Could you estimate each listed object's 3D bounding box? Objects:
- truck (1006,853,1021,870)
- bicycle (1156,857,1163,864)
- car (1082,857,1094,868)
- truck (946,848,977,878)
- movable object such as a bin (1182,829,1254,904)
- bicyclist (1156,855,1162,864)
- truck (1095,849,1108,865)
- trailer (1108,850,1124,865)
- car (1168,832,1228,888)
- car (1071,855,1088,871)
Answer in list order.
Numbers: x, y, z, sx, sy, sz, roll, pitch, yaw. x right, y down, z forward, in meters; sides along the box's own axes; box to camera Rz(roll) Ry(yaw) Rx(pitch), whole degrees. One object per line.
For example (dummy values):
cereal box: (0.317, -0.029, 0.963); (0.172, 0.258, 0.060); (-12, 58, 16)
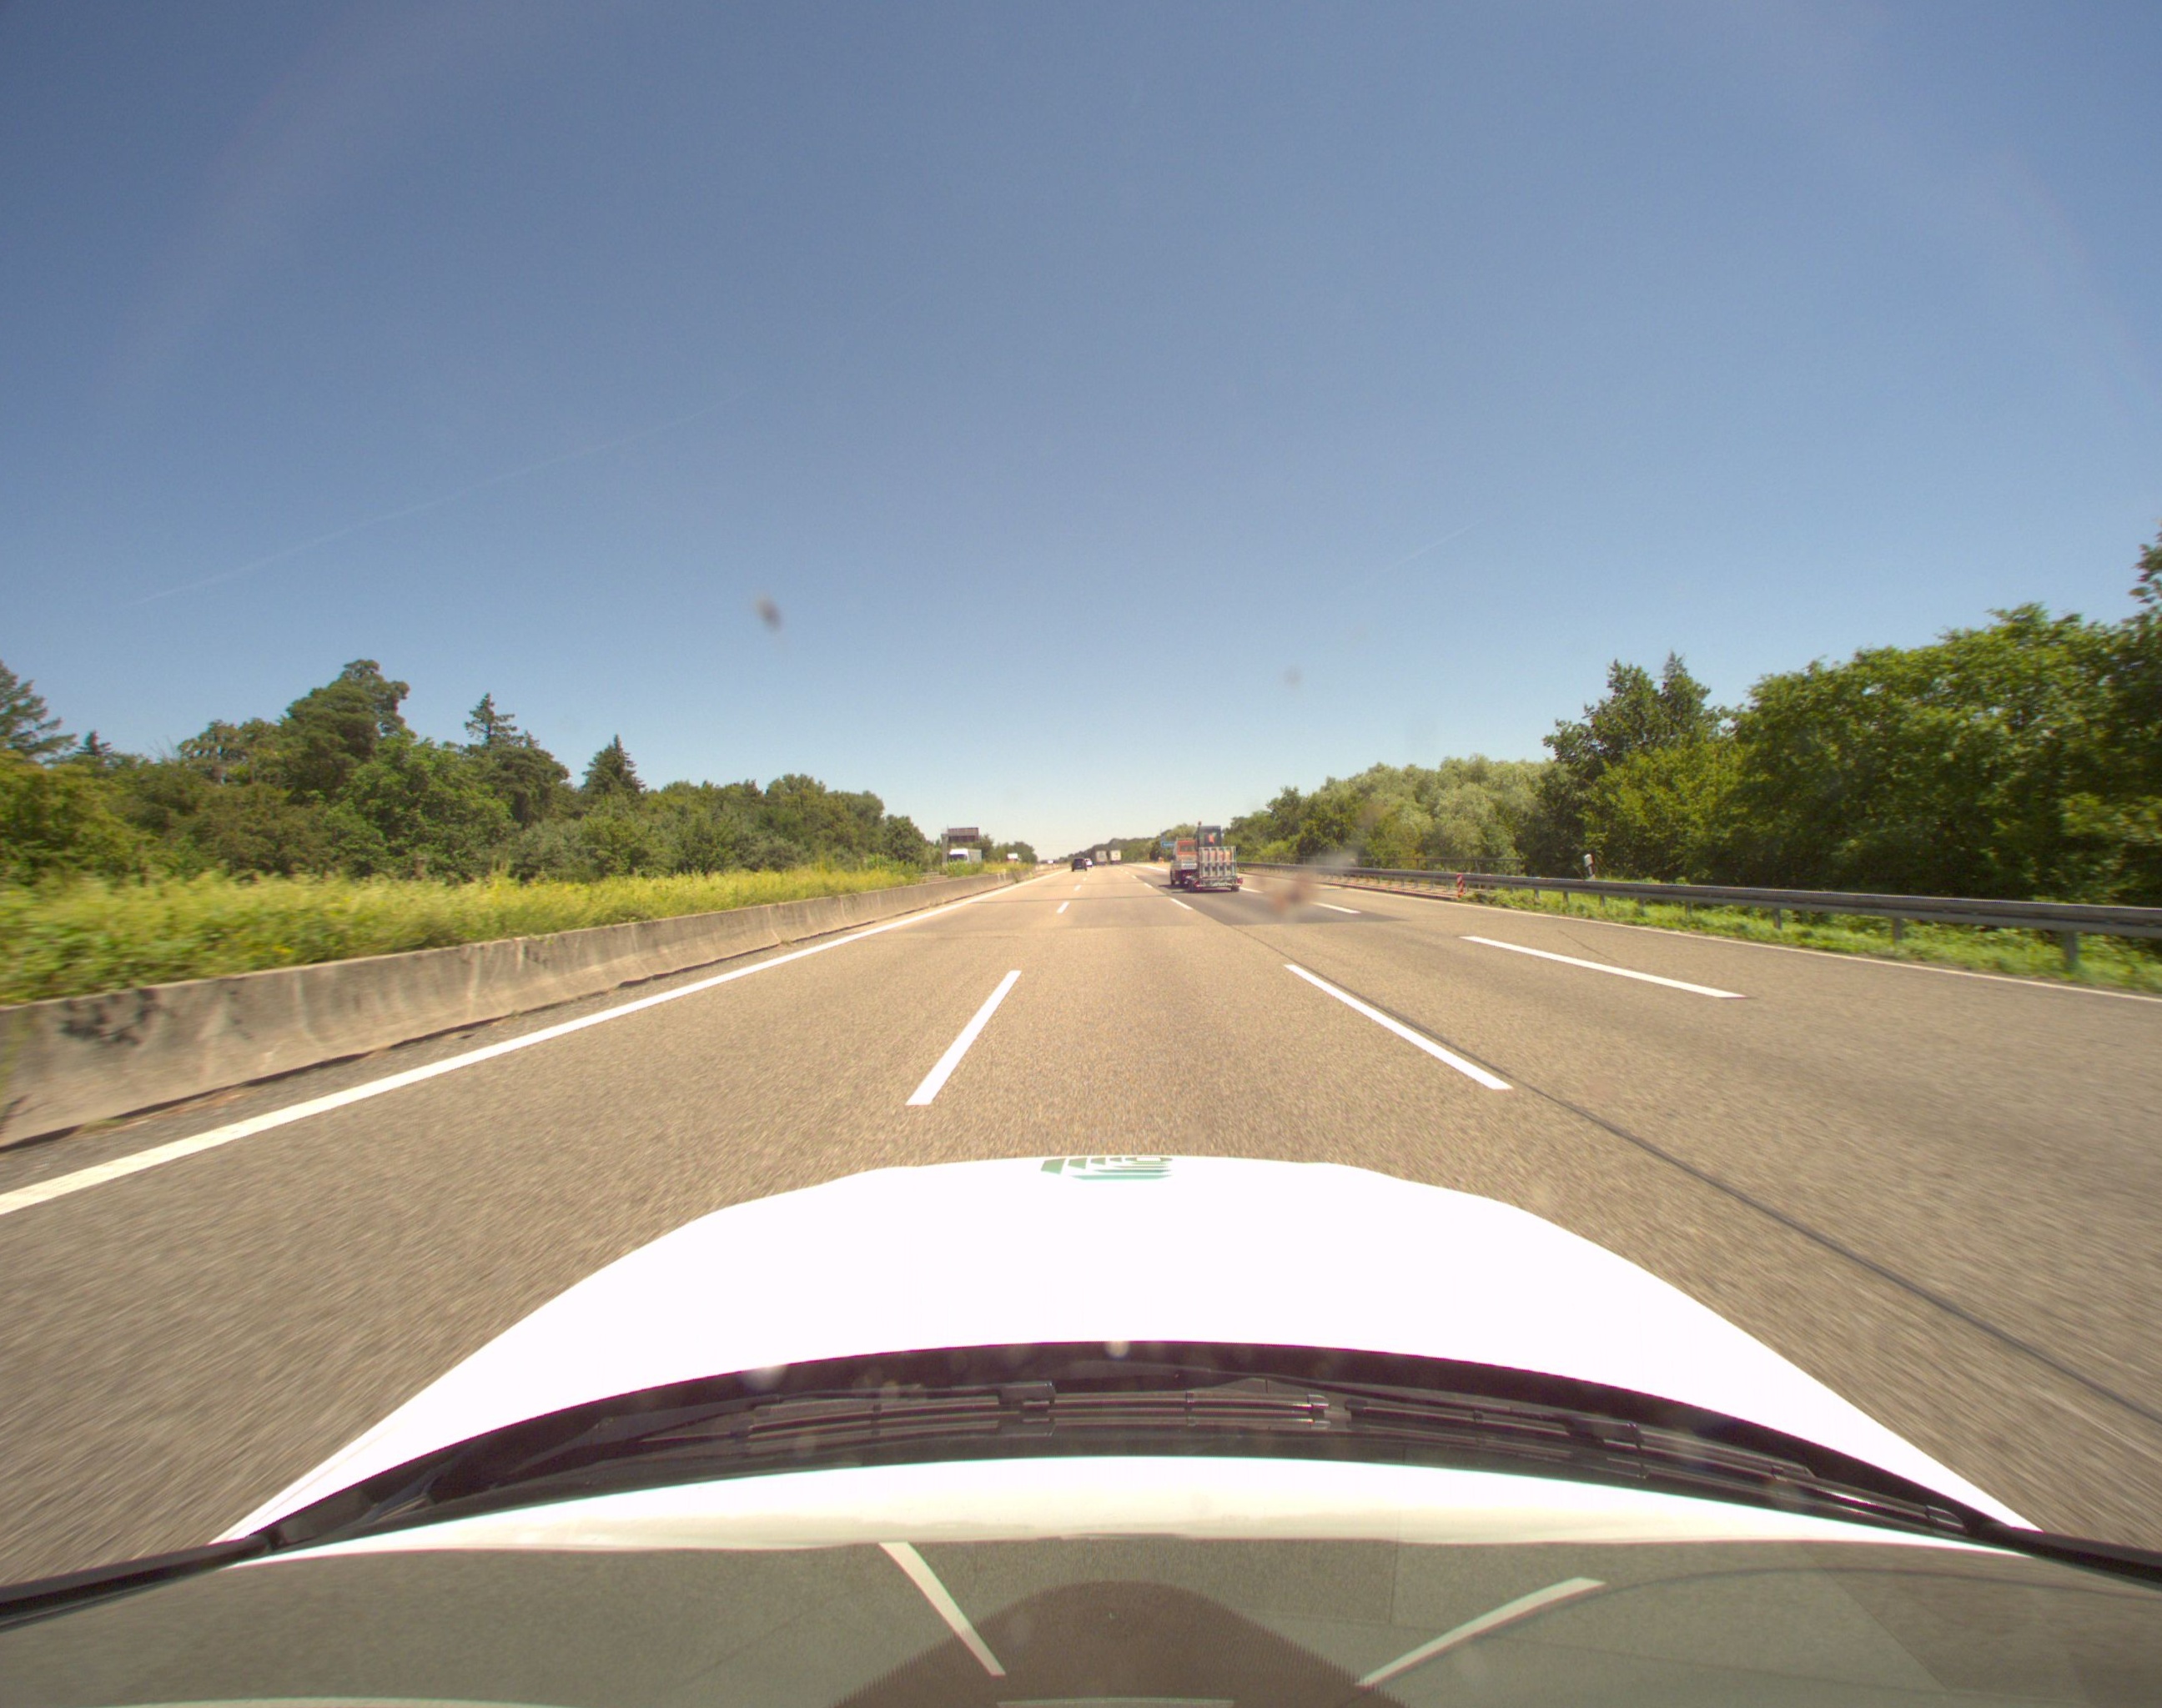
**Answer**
truck: (-16.033, 1.771, 194.829); (2.798, 4.047, 7.730); (0, -1, 1)
bicycle: (13.572, 1.130, 140.649); (0.954, 1.157, 2.614); (0, -1, 10)
car: (1.316, 1.568, 152.653); (1.986, 1.874, 4.001); (-2, -1, 1)
truck: (-17.760, 1.294, 121.281); (2.973, 4.076, 8.195); (-3, 0, 1)
movable object such as a bin: (5.647, 0.503, 34.184); (2.166, 2.815, 4.762); (-3, -1, 1)
bicyclist: (13.533, 0.934, 140.549); (0.954, 1.595, 0.809); (0, -1, 9)
truck: (5.334, 0.735, 215.095); (3.219, 4.202, 8.465); (-1, 0, 0)
trailer: (9.754, 0.876, 227.823); (3.361, 4.143, 9.077); (0, -1, -4)
car: (5.635, 0.282, 40.133); (1.986, 2.405, 7.228); (-3, -1, 1)
car: (-0.150, 1.186, 105.555); (1.986, 1.874, 4.001); (-3, -1, 1)
